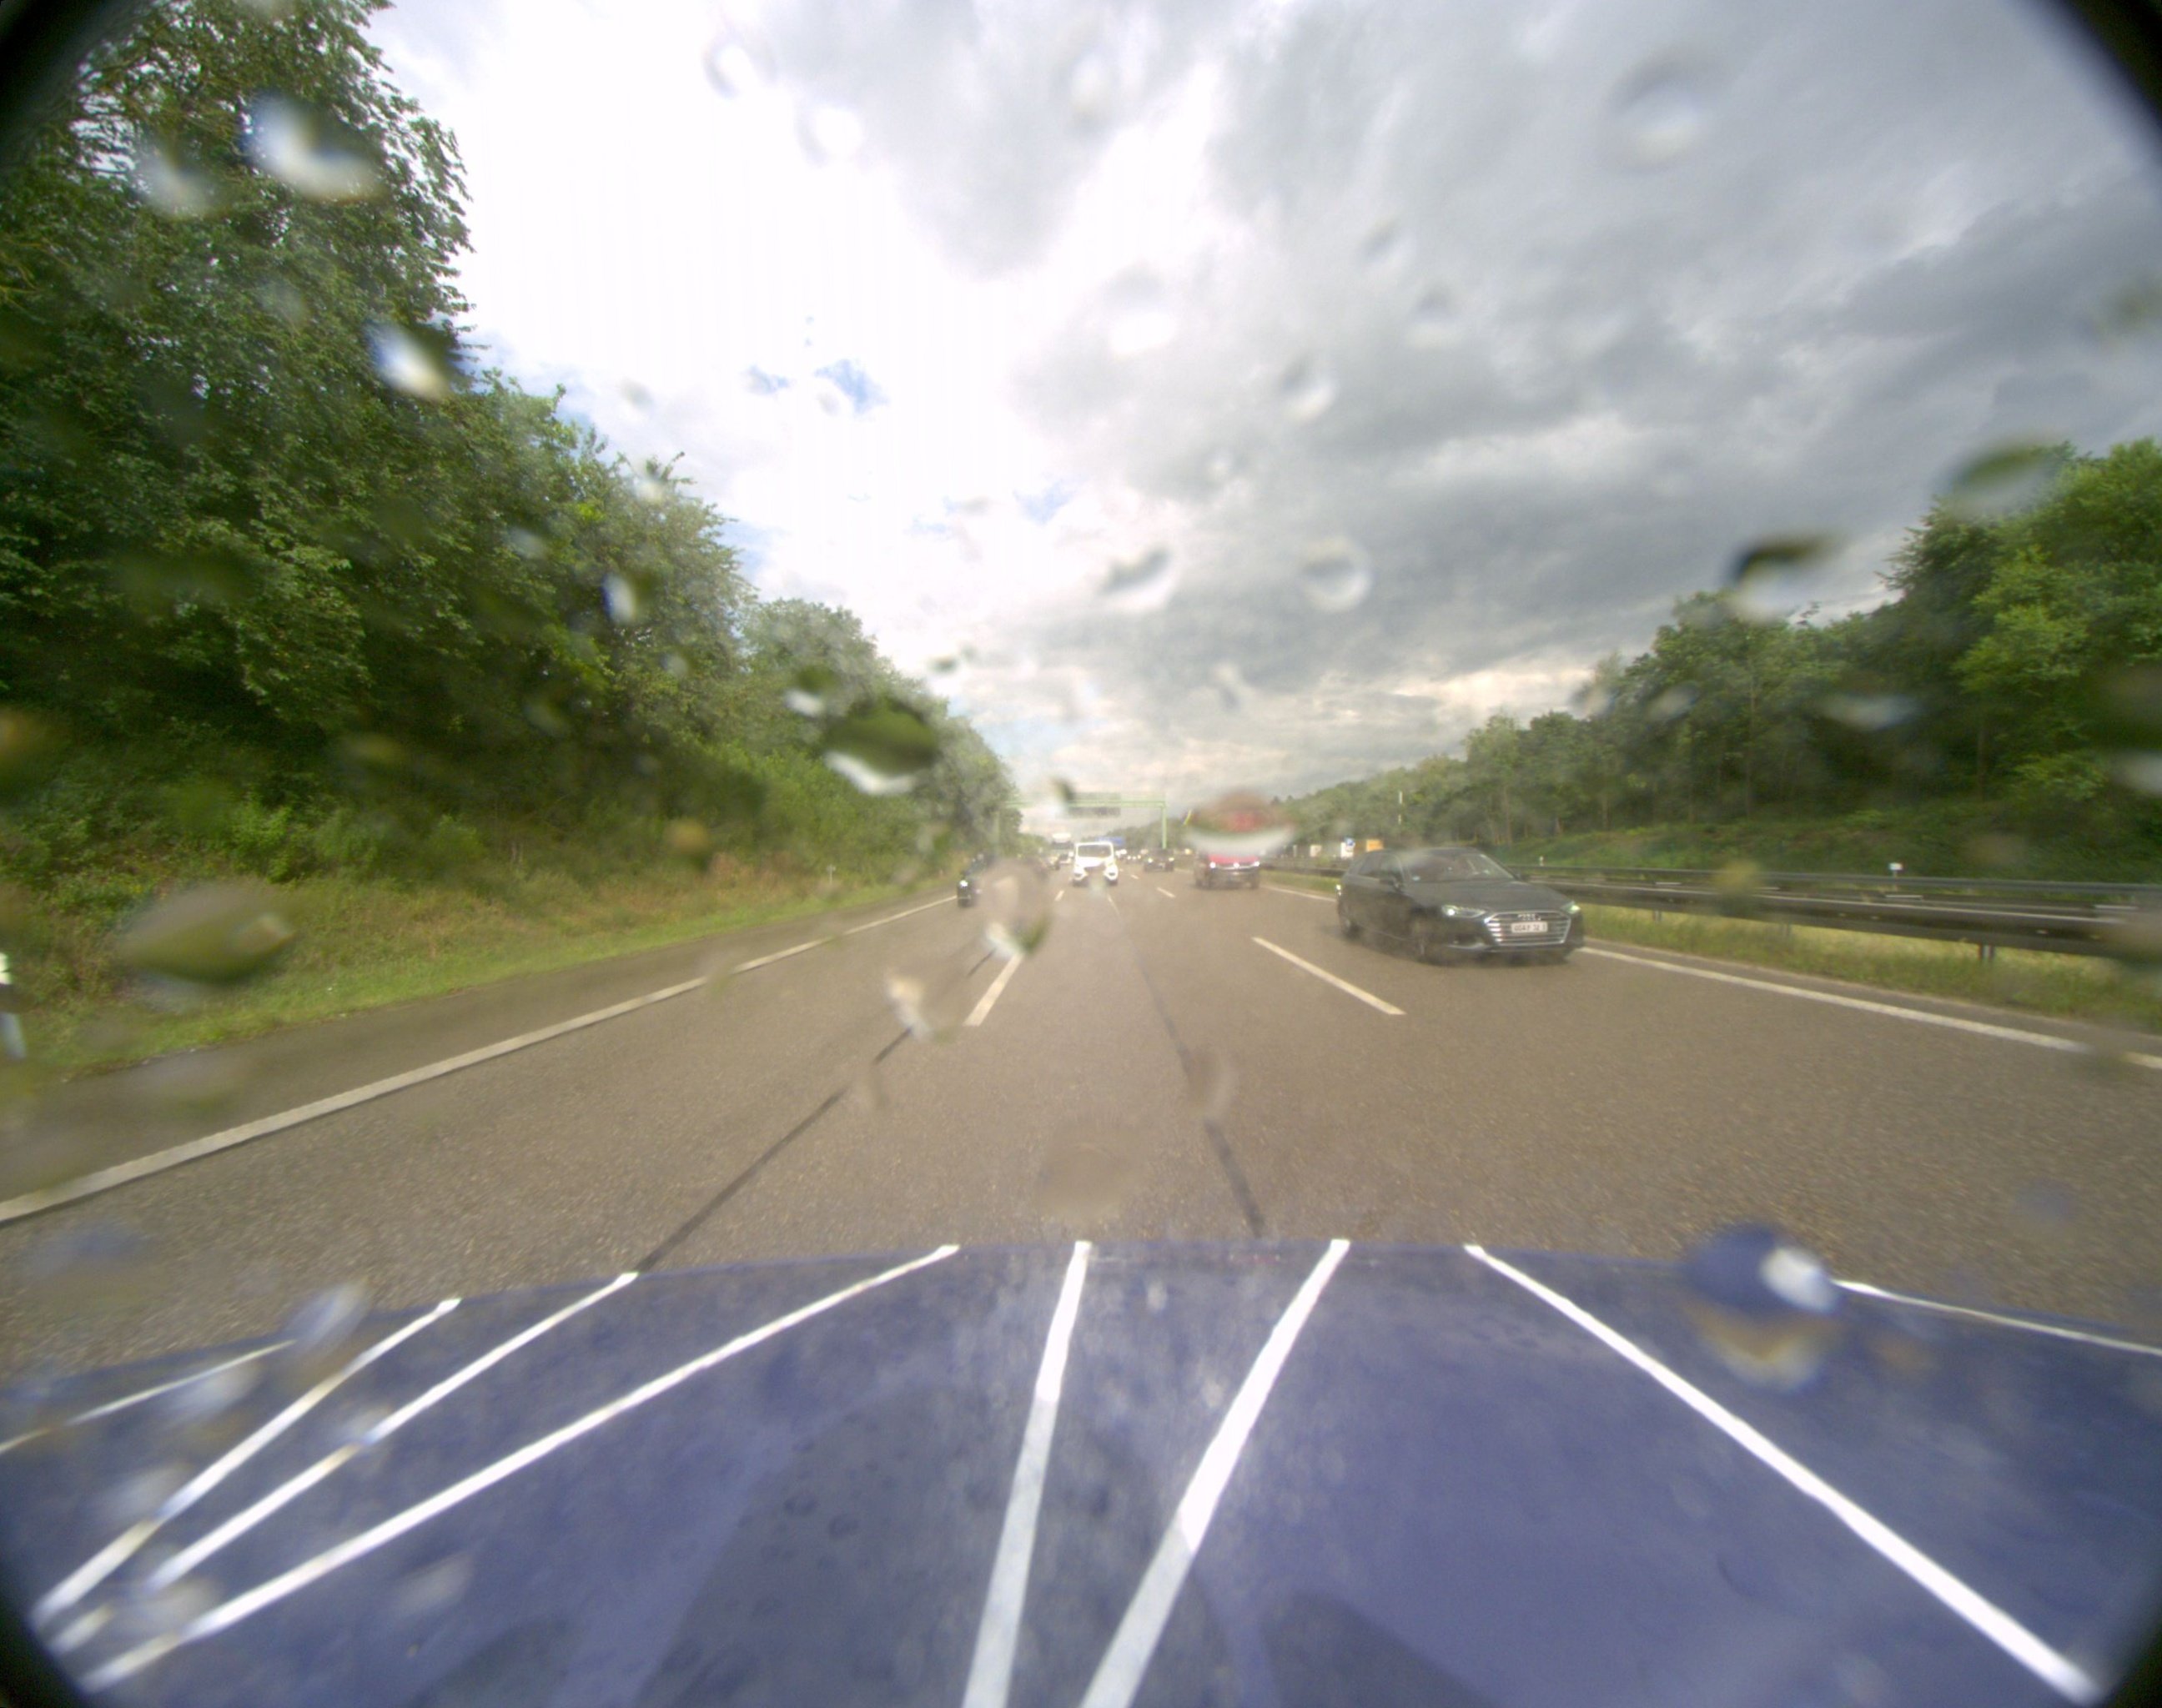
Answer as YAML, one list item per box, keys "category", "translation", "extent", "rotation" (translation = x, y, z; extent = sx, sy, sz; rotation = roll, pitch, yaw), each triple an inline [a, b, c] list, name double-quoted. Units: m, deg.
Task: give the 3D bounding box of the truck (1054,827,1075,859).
- category: "truck"
  translation: [-2.140, -1.402, 100.567]
  extent: [2.460, 4.080, 5.332]
  rotation: [-2, 0, 0]

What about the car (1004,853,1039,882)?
- category: "car"
  translation: [-3.225, 0.707, 41.863]
  extent: [1.655, 1.448, 3.744]
  rotation: [-2, 1, -1]

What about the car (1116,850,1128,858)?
- category: "car"
  translation: [7.058, -0.054, 131.274]
  extent: [1.675, 1.228, 3.999]
  rotation: [-2, 0, 0]

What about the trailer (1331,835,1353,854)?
- category: "trailer"
  translation: [53.253, -1.945, 155.277]
  extent: [2.187, 3.579, 11.725]
  rotation: [0, 1, 8]

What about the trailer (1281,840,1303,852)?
- category: "trailer"
  translation: [57.425, -2.120, 207.085]
  extent: [2.611, 3.253, 12.646]
  rotation: [0, 1, 0]

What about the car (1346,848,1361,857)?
- category: "car"
  translation: [51.671, -0.290, 144.166]
  extent: [1.898, 1.494, 4.002]
  rotation: [0, 1, 8]

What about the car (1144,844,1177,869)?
- category: "car"
  translation: [5.717, 0.145, 55.311]
  extent: [1.895, 1.660, 4.294]
  rotation: [-2, 1, 0]

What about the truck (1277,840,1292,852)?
- category: "truck"
  translation: [57.423, -2.214, 214.494]
  extent: [2.582, 3.232, 6.535]
  rotation: [0, 1, 0]

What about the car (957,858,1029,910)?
- category: "car"
  translation: [-2.711, 0.875, 24.298]
  extent: [1.759, 1.388, 4.367]
  rotation: [-2, 1, 0]

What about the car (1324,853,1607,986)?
- category: "car"
  translation: [4.990, 0.726, 10.679]
  extent: [1.723, 1.403, 4.467]
  rotation: [-1, 1, 0]

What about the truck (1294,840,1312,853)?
- category: "truck"
  translation: [57.141, -1.897, 195.637]
  extent: [3.049, 3.165, 5.597]
  rotation: [0, 1, 2]

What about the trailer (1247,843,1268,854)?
- category: "trailer"
  translation: [56.152, -1.808, 241.860]
  extent: [3.193, 3.253, 12.643]
  rotation: [0, 1, -2]

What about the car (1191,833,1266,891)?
- category: "car"
  translation: [5.549, 0.283, 29.154]
  extent: [1.895, 1.973, 4.750]
  rotation: [-2, 0, 0]

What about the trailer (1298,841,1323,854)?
- category: "trailer"
  translation: [56.881, -1.671, 188.521]
  extent: [3.027, 3.174, 12.174]
  rotation: [0, 1, 2]

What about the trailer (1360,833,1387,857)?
- category: "trailer"
  translation: [48.425, -1.561, 126.165]
  extent: [1.997, 3.674, 13.668]
  rotation: [-2, 1, 13]

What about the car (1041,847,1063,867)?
- category: "car"
  translation: [-2.736, 0.245, 71.818]
  extent: [1.831, 1.793, 5.305]
  rotation: [-1, 1, 0]

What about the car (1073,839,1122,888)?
- category: "car"
  translation: [0.677, 0.395, 34.305]
  extent: [1.985, 1.973, 5.168]
  rotation: [-2, 0, 0]

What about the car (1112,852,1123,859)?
- category: "car"
  translation: [6.848, 0.194, 142.510]
  extent: [1.888, 1.228, 4.506]
  rotation: [-2, 0, 0]

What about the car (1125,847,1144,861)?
- category: "car"
  translation: [6.147, 0.009, 88.128]
  extent: [1.895, 1.558, 4.053]
  rotation: [-2, 1, 0]
